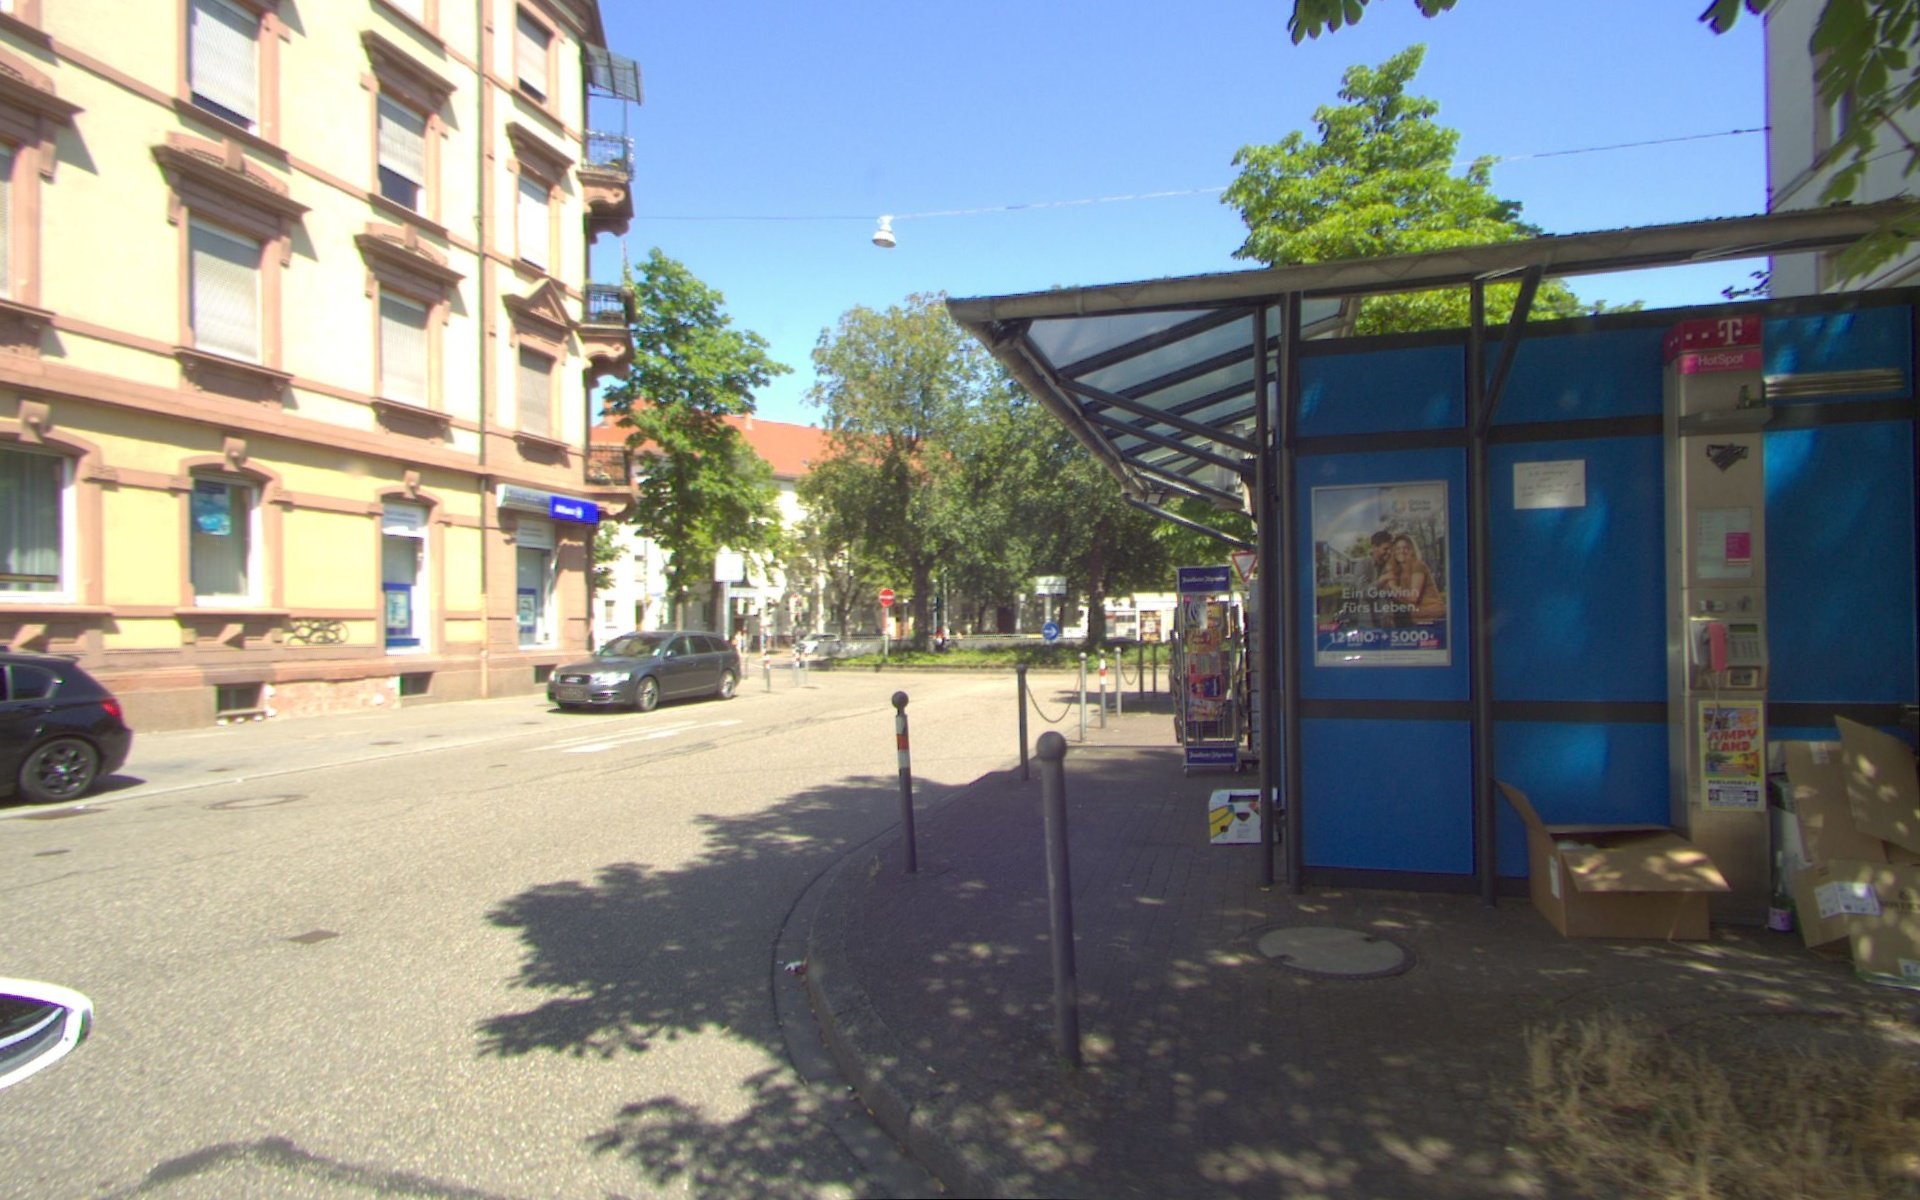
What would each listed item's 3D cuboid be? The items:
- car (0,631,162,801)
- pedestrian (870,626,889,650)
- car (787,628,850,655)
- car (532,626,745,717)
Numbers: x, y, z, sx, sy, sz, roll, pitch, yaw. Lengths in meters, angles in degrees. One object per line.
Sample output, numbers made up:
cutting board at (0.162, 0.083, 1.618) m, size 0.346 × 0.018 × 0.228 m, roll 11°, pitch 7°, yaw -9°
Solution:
car at (-9.405, 1.023, 8.160) m, size 1.774 × 1.388 × 4.302 m, roll 2°, pitch 0°, yaw 17°
pedestrian at (-5.821, 2.732, 72.430) m, size 0.900 × 1.750 × 0.967 m, roll -1°, pitch 0°, yaw 42°
car at (-9.505, 2.784, 67.508) m, size 1.960 × 1.643 × 3.972 m, roll -1°, pitch -1°, yaw 38°
car at (-6.070, 1.292, 19.513) m, size 1.774 × 1.474 × 4.430 m, roll 0°, pitch 0°, yaw 17°
